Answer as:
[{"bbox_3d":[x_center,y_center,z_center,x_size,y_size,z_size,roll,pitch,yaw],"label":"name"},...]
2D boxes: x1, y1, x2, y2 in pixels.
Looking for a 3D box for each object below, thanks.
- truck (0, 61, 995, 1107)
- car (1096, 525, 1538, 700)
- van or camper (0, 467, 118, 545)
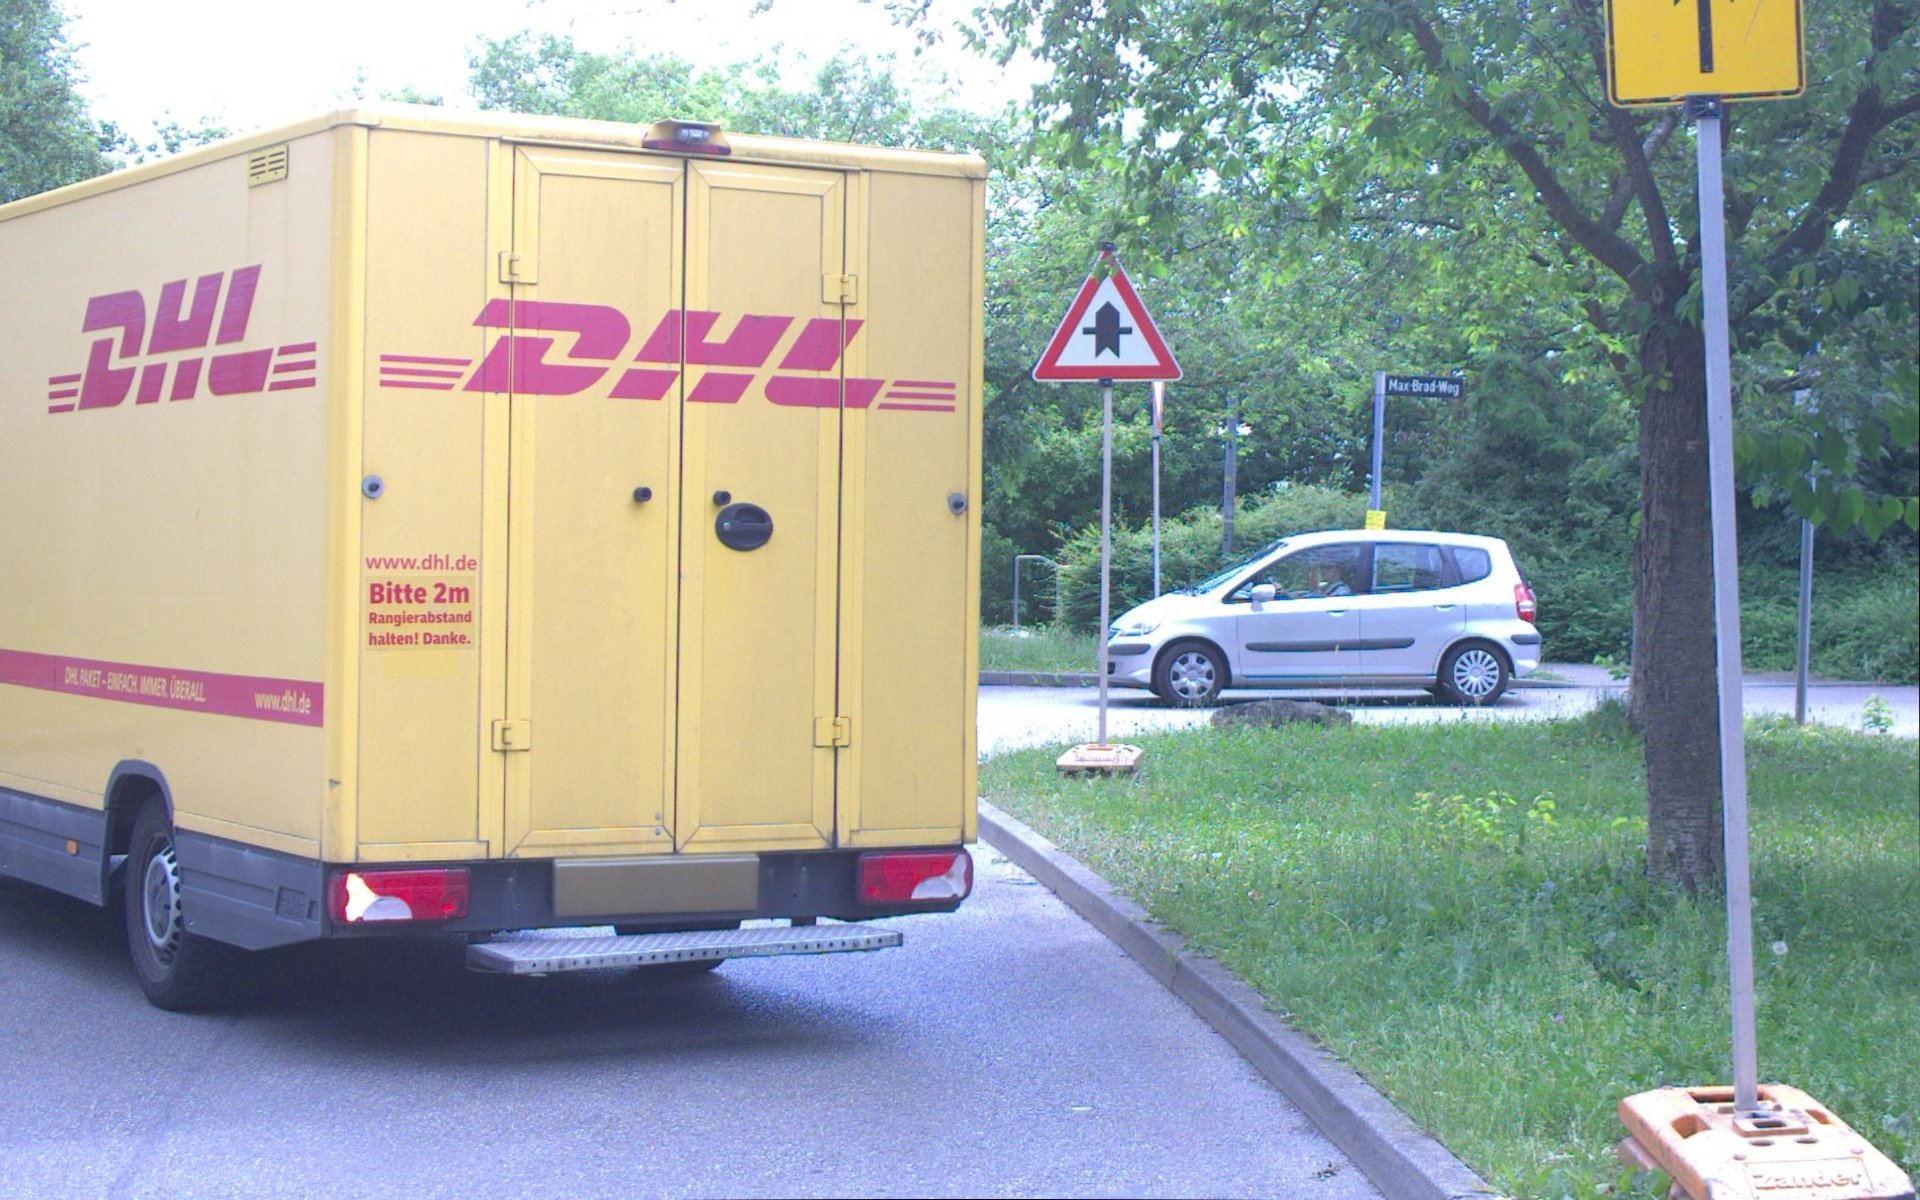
[{"bbox_3d":[-2.449,-0.120,12.617,2.225,2.799,6.572,-1,1,-29],"label":"truck"},{"bbox_3d":[3.068,0.093,30.121,3.640,1.451,1.847,1,1,-1],"label":"car"},{"bbox_3d":[-24.964,-2.591,93.990,1.994,1.913,5.266,-3,5,-34],"label":"van or camper"}]
